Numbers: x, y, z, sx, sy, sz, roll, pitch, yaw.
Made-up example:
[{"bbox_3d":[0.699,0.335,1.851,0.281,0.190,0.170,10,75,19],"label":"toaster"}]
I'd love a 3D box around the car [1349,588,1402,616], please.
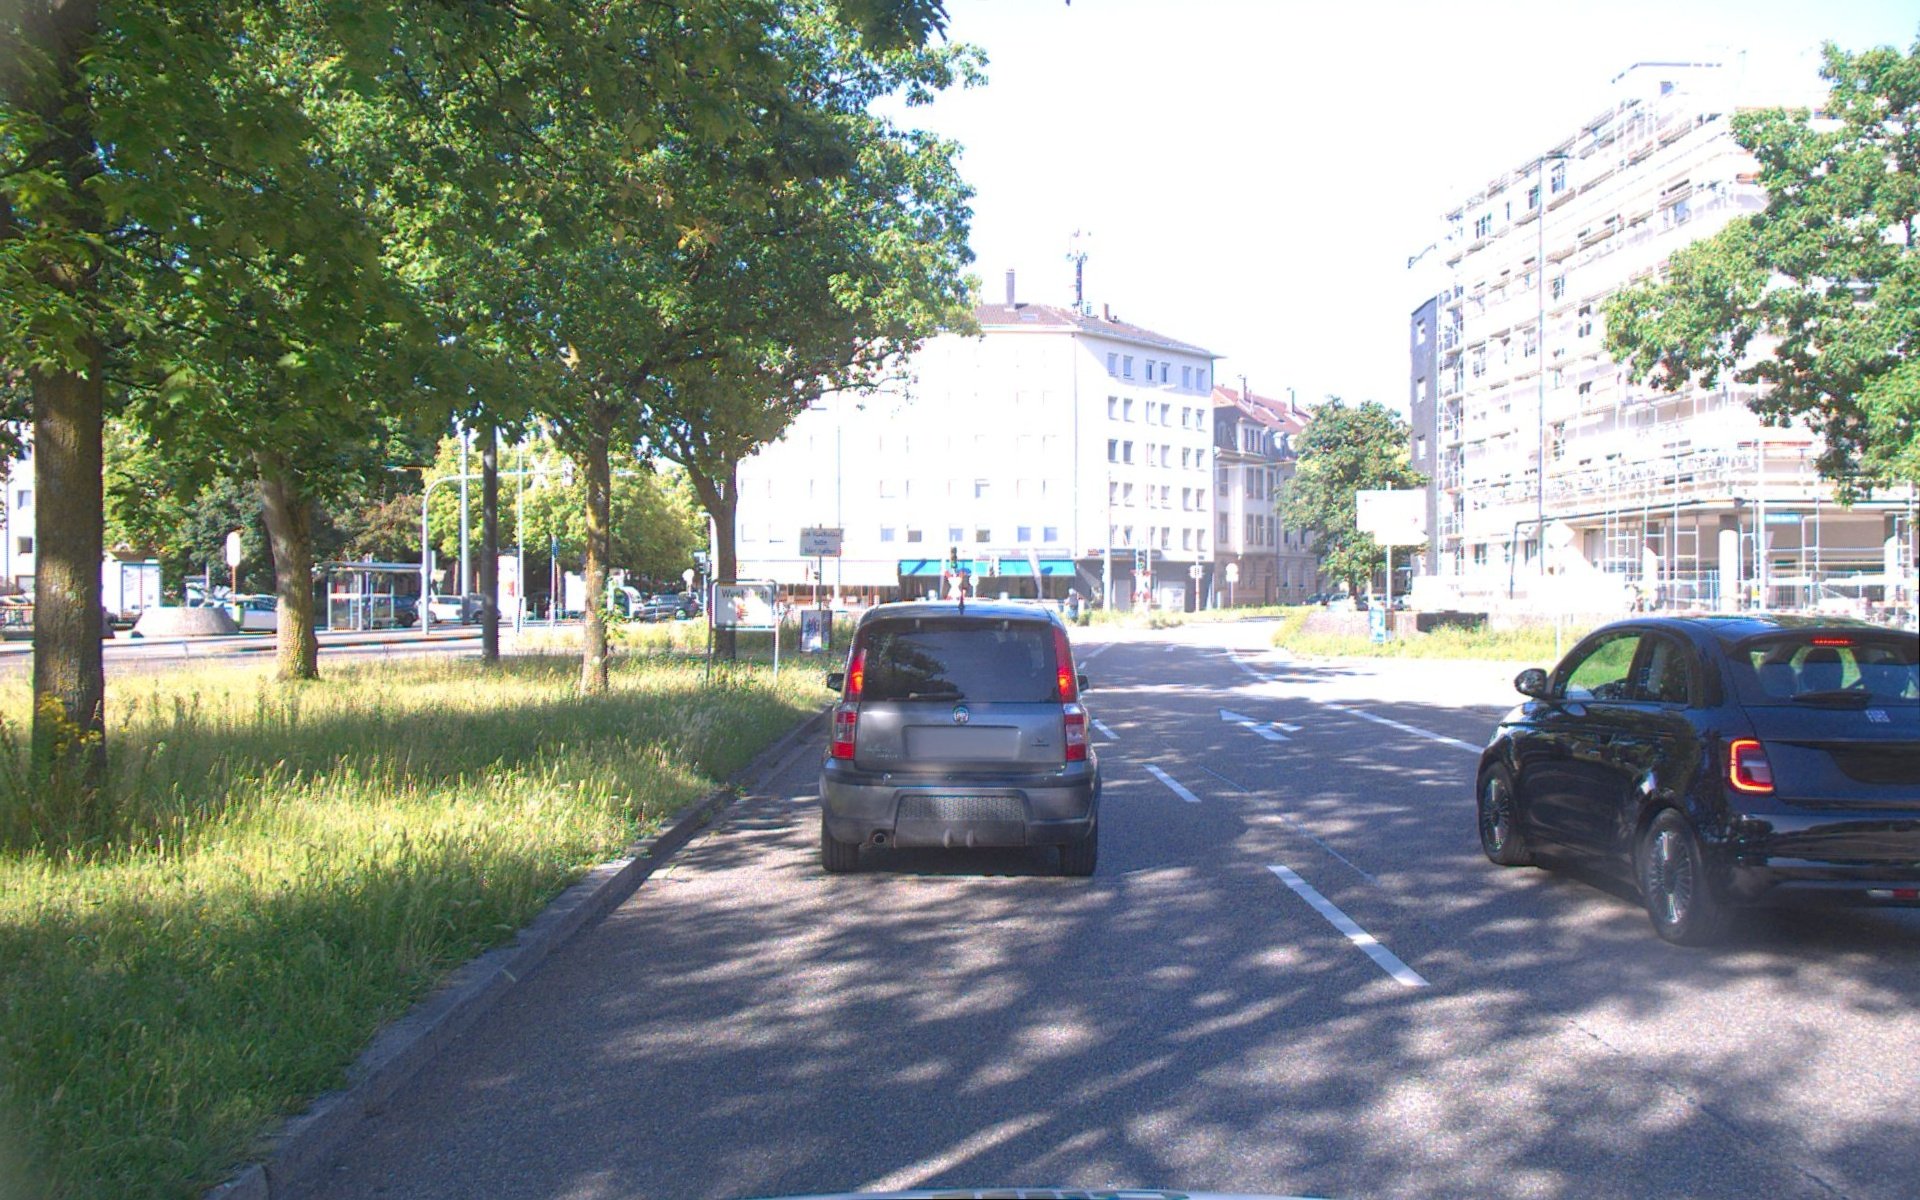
[{"bbox_3d":[23.353,0.099,92.884,1.787,1.534,3.990,0,1,32],"label":"car"}]

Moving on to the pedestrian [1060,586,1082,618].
[{"bbox_3d":[5.186,0.088,77.507,0.760,1.452,0.935,1,-1,-14],"label":"pedestrian"}]

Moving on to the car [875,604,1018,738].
[{"bbox_3d":[-0.174,0.790,20.237,1.588,1.454,3.687,0,0,-1],"label":"car"}]

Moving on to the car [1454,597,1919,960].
[{"bbox_3d":[4.018,0.757,8.842,1.640,1.529,3.561,0,0,-1],"label":"car"}]

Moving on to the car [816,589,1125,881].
[{"bbox_3d":[0.081,0.707,10.373,1.625,1.536,3.252,0,0,1],"label":"car"}]

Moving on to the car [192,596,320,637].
[{"bbox_3d":[-29.184,0.654,68.642,1.840,1.571,4.521,4,3,42],"label":"car"}]

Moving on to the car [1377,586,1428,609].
[{"bbox_3d":[31.934,-0.194,119.522,1.872,1.621,3.986,0,0,-13],"label":"car"}]

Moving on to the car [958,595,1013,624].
[{"bbox_3d":[1.168,0.429,76.821,1.956,1.264,3.992,0,0,-8],"label":"car"}]

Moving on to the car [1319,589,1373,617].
[{"bbox_3d":[20.723,0.150,88.716,1.742,1.468,3.610,1,1,31],"label":"car"}]

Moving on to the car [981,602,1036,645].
[{"bbox_3d":[1.550,0.715,52.142,1.655,1.275,3.627,0,0,3],"label":"car"}]

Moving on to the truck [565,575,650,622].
[{"bbox_3d":[-18.537,-0.089,86.984,4.009,2.469,1.795,0,0,11],"label":"truck"}]

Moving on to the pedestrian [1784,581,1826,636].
[{"bbox_3d":[23.740,0.232,46.492,0.637,1.523,0.907,0,0,-9],"label":"pedestrian"}]

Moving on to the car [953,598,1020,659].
[{"bbox_3d":[0.663,0.687,41.724,1.612,1.463,3.396,0,0,1],"label":"car"}]

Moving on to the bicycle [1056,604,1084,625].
[{"bbox_3d":[5.154,0.671,77.545,0.769,0.968,1.849,1,-1,-14],"label":"bicycle"}]

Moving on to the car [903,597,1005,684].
[{"bbox_3d":[-0.182,0.705,31.357,1.725,1.512,4.291,0,0,-3],"label":"car"}]

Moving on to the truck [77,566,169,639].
[{"bbox_3d":[-35.973,0.055,71.039,4.742,3.047,1.988,1,1,42],"label":"truck"}]

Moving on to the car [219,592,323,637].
[{"bbox_3d":[-29.898,0.592,71.845,1.724,1.747,3.997,3,2,26],"label":"car"}]

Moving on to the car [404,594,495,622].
[{"bbox_3d":[-26.897,0.428,87.296,4.301,1.474,1.667,0,0,-5],"label":"car"}]
